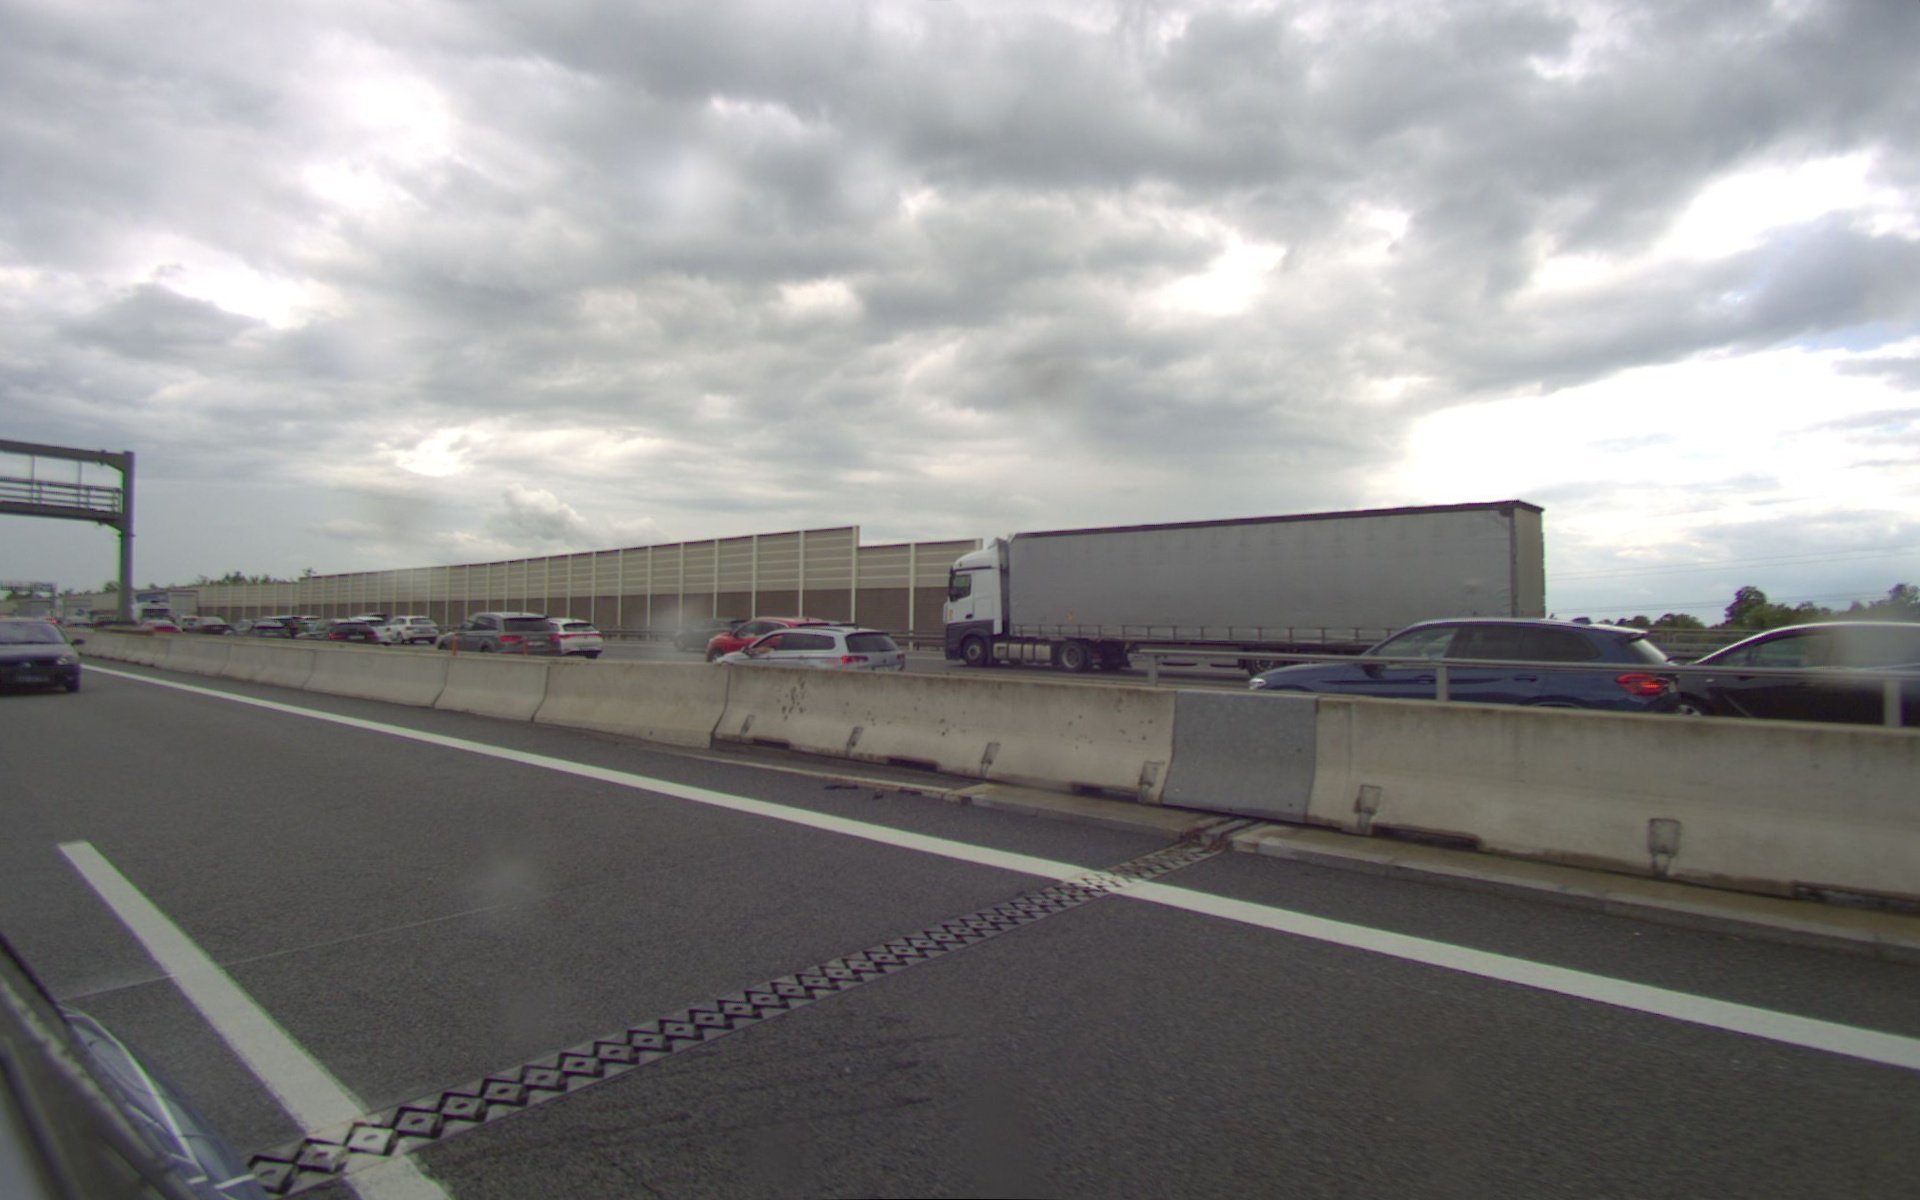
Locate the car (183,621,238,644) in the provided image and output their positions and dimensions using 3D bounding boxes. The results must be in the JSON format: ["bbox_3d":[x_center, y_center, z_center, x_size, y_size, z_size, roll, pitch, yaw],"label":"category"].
[{"bbox_3d":[-51.041,2.195,68.881,4.997,1.502,2.038,-1,-1,42],"label":"car"}]

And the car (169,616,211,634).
[{"bbox_3d":[-66.315,2.155,87.133,4.997,1.502,2.038,-1,-1,42],"label":"car"}]

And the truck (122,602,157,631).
[{"bbox_3d":[-117.692,2.333,145.207,5.721,4.065,2.887,-1,-2,40],"label":"truck"}]

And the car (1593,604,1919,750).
[{"bbox_3d":[10.860,0.896,12.836,4.518,1.658,2.038,-1,-1,42],"label":"car"}]

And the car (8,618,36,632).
[{"bbox_3d":[-113.677,3.067,122.676,5.010,1.712,1.854,-2,-2,40],"label":"car"}]

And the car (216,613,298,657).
[{"bbox_3d":[-32.399,1.575,46.609,4.997,1.894,2.038,-1,-1,42],"label":"car"}]

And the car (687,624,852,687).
[{"bbox_3d":[-5.281,1.445,27.682,4.719,1.546,2.038,-1,-1,42],"label":"car"}]

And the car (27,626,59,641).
[{"bbox_3d":[-102.098,3.691,112.644,4.994,1.612,2.039,-1,-1,40],"label":"car"}]

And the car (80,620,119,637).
[{"bbox_3d":[-77.424,2.556,91.059,4.997,1.502,2.038,-1,-1,42],"label":"car"}]

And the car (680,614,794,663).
[{"bbox_3d":[-9.129,1.518,41.190,4.997,1.894,2.038,-1,-1,42],"label":"car"}]

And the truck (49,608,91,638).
[{"bbox_3d":[-109.019,2.774,123.914,9.991,3.554,2.668,-1,-1,42],"label":"truck"}]

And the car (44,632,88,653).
[{"bbox_3d":[-69.334,3.234,78.487,4.997,1.502,2.038,-1,-1,42],"label":"car"}]

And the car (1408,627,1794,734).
[{"bbox_3d":[11.016,1.267,17.726,5.469,1.546,2.038,-1,-1,42],"label":"car"}]

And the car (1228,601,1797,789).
[{"bbox_3d":[5.990,0.877,11.529,5.379,1.658,2.038,-1,-1,42],"label":"car"}]

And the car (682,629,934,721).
[{"bbox_3d":[-3.193,1.385,20.396,5.469,1.546,2.038,-1,-1,42],"label":"car"}]

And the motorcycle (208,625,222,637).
[{"bbox_3d":[-68.842,2.859,93.534,2.429,1.015,0.512,-1,-1,41],"label":"motorcycle"}]

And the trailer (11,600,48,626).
[{"bbox_3d":[-151.534,2.156,164.719,14.443,4.062,2.733,-1,-2,41],"label":"trailer"}]

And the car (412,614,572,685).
[{"bbox_3d":[-14.044,1.380,30.130,6.327,1.894,2.038,-1,-1,42],"label":"car"}]

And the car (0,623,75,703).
[{"bbox_3d":[-18.389,1.162,19.457,3.998,1.413,1.558,-1,-2,41],"label":"car"}]

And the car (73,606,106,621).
[{"bbox_3d":[-96.416,1.520,112.114,4.994,1.612,2.039,-1,-1,40],"label":"car"}]

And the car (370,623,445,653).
[{"bbox_3d":[-29.847,2.003,54.617,4.997,1.502,2.038,-1,-1,42],"label":"car"}]

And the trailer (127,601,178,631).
[{"bbox_3d":[-112.279,2.234,140.583,13.851,4.062,2.905,-1,-2,41],"label":"trailer"}]

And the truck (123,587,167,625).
[{"bbox_3d":[-89.970,0.739,111.661,5.722,4.065,2.717,-1,-2,40],"label":"truck"}]

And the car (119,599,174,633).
[{"bbox_3d":[-64.638,1.289,80.331,7.085,2.569,2.357,-1,-1,42],"label":"car"}]

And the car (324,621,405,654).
[{"bbox_3d":[-29.196,1.781,49.544,4.997,1.502,2.038,-1,-1,42],"label":"car"}]

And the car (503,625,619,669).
[{"bbox_3d":[-14.179,1.616,35.822,4.522,1.427,2.038,-1,-1,42],"label":"car"}]

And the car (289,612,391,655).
[{"bbox_3d":[-23.926,1.244,38.952,4.997,1.546,2.038,-1,-1,42],"label":"car"}]

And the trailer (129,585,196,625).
[{"bbox_3d":[-84.291,0.615,106.806,14.442,4.062,2.733,-1,-2,40],"label":"trailer"}]

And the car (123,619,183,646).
[{"bbox_3d":[-48.328,1.923,60.569,4.997,1.502,2.038,-1,-1,42],"label":"car"}]

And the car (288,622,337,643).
[{"bbox_3d":[-50.821,2.519,79.432,4.997,1.502,2.038,-1,-1,42],"label":"car"}]

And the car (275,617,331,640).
[{"bbox_3d":[-45.168,1.958,69.564,4.997,1.502,2.038,-1,-1,42],"label":"car"}]

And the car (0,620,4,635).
[{"bbox_3d":[-99.996,2.832,103.914,4.993,1.502,2.040,-1,-1,40],"label":"car"}]

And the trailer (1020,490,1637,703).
[{"bbox_3d":[8.041,0.056,25.264,14.450,4.062,2.900,-1,-2,42],"label":"trailer"}]

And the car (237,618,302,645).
[{"bbox_3d":[-40.616,1.823,59.489,4.997,1.502,2.038,-1,-1,42],"label":"car"}]

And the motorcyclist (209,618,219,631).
[{"bbox_3d":[-68.939,2.281,93.503,0.796,1.233,0.630,-1,-1,41],"label":"motorcyclist"}]

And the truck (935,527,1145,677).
[{"bbox_3d":[2.312,0.111,30.479,5.725,4.065,2.940,-1,-2,42],"label":"truck"}]
